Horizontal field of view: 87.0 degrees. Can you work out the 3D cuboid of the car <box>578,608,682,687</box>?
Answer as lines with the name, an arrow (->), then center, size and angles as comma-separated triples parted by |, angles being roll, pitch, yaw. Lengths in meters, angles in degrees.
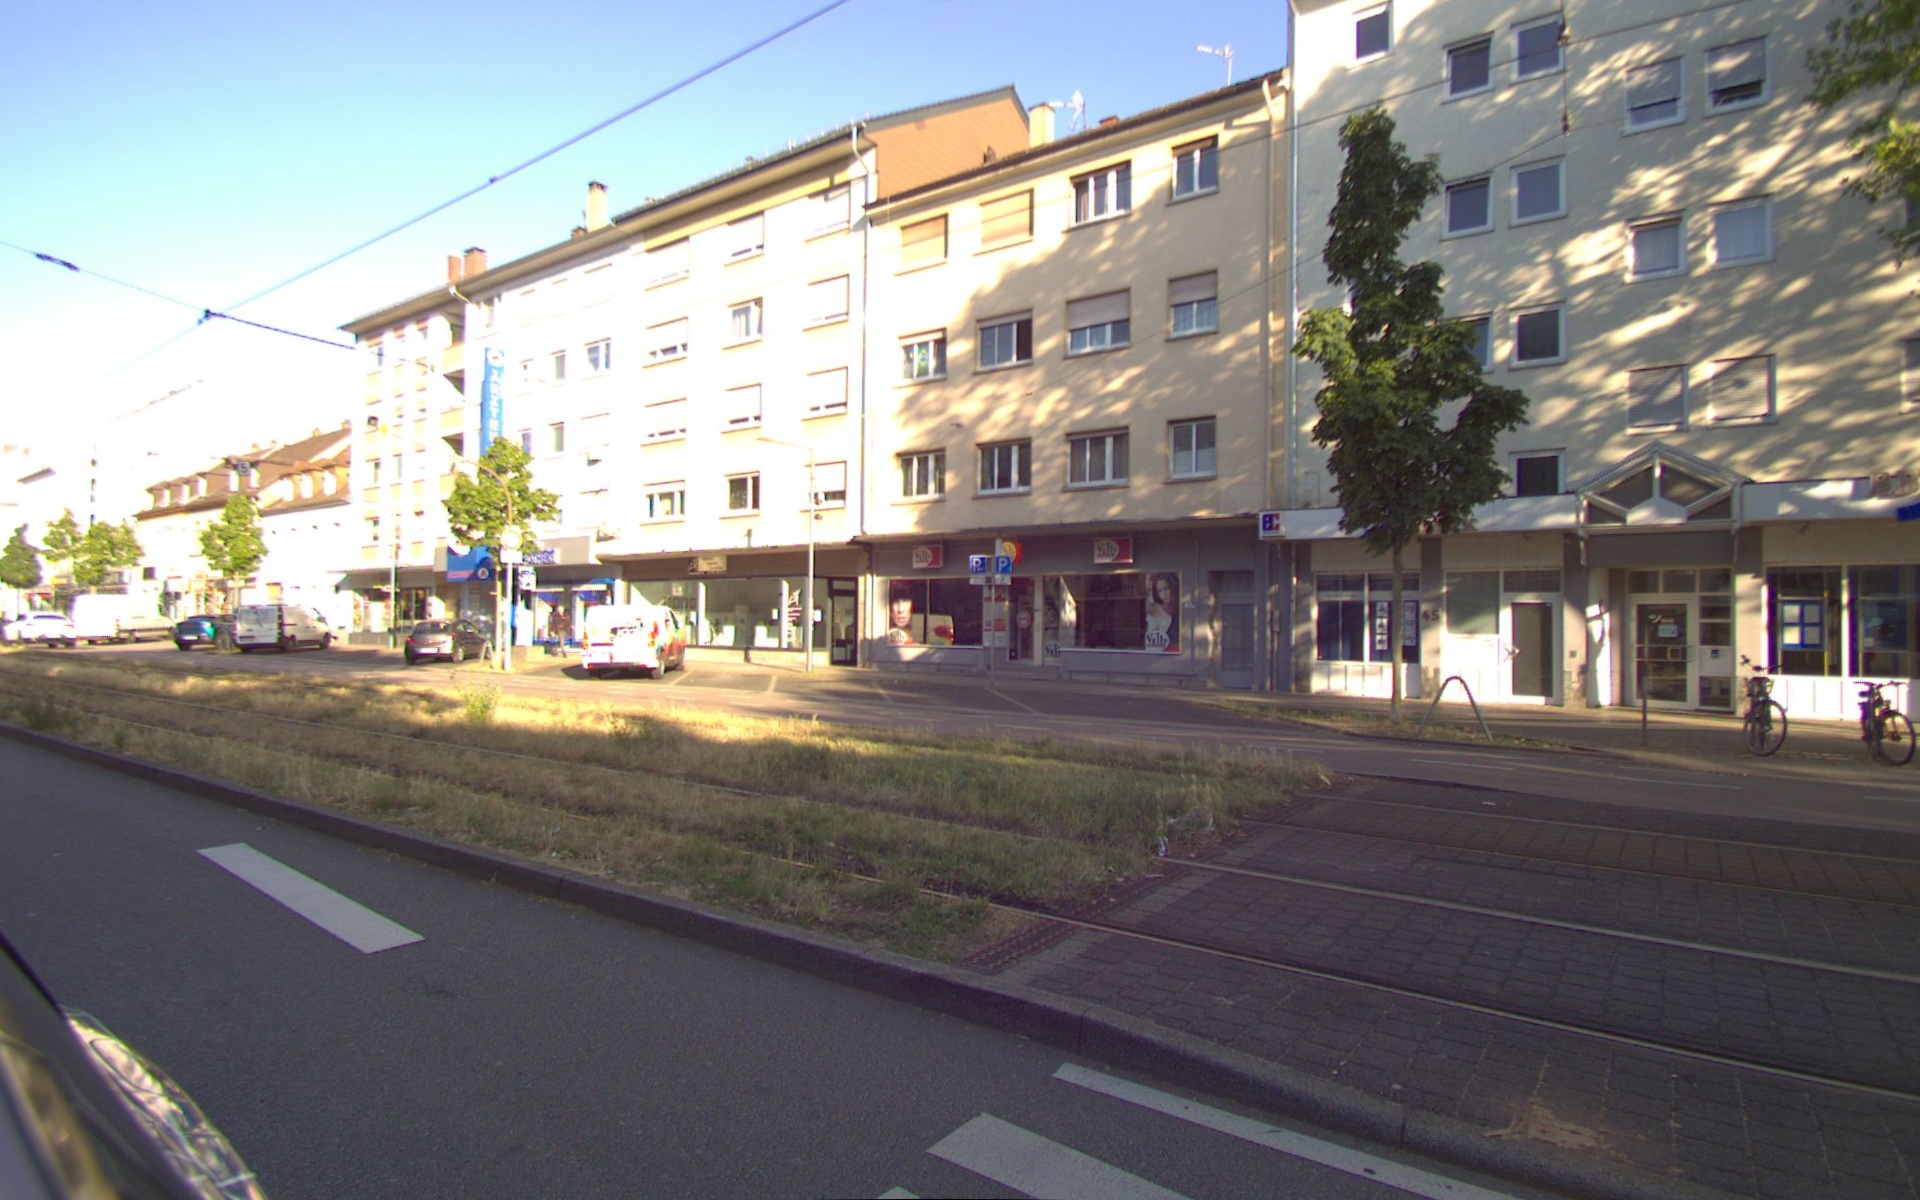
car -> -8.720, 1.195, 27.056 | 1.830, 1.913, 4.005 | 0, 0, -6

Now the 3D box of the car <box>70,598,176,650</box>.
car -> -45.368, 1.260, 55.061 | 1.895, 2.634, 6.608 | 0, 0, -16

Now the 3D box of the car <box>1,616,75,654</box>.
car -> -40.878, 1.518, 44.834 | 4.447, 1.592, 1.822 | -1, -2, 40

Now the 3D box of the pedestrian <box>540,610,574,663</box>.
pedestrian -> -14.118, 1.265, 35.467 | 0.916, 1.841, 0.748 | -1, -1, 38

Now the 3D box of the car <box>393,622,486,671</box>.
car -> -17.497, 1.525, 34.235 | 1.708, 1.508, 4.009 | 0, 0, -10

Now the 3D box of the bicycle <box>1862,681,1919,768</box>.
bicycle -> 11.476, 1.495, 12.389 | 0.471, 0.895, 1.724 | -1, -1, 36

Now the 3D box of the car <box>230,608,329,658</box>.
car -> -28.563, 1.338, 42.649 | 1.828, 1.952, 4.514 | 0, 0, -10

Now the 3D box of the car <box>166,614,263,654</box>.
car -> -34.214, 1.544, 46.578 | 1.830, 1.727, 3.919 | 0, 0, -5

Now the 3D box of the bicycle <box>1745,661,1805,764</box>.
bicycle -> 10.376, 1.393, 12.920 | 0.511, 1.147, 1.724 | -1, -1, 36
